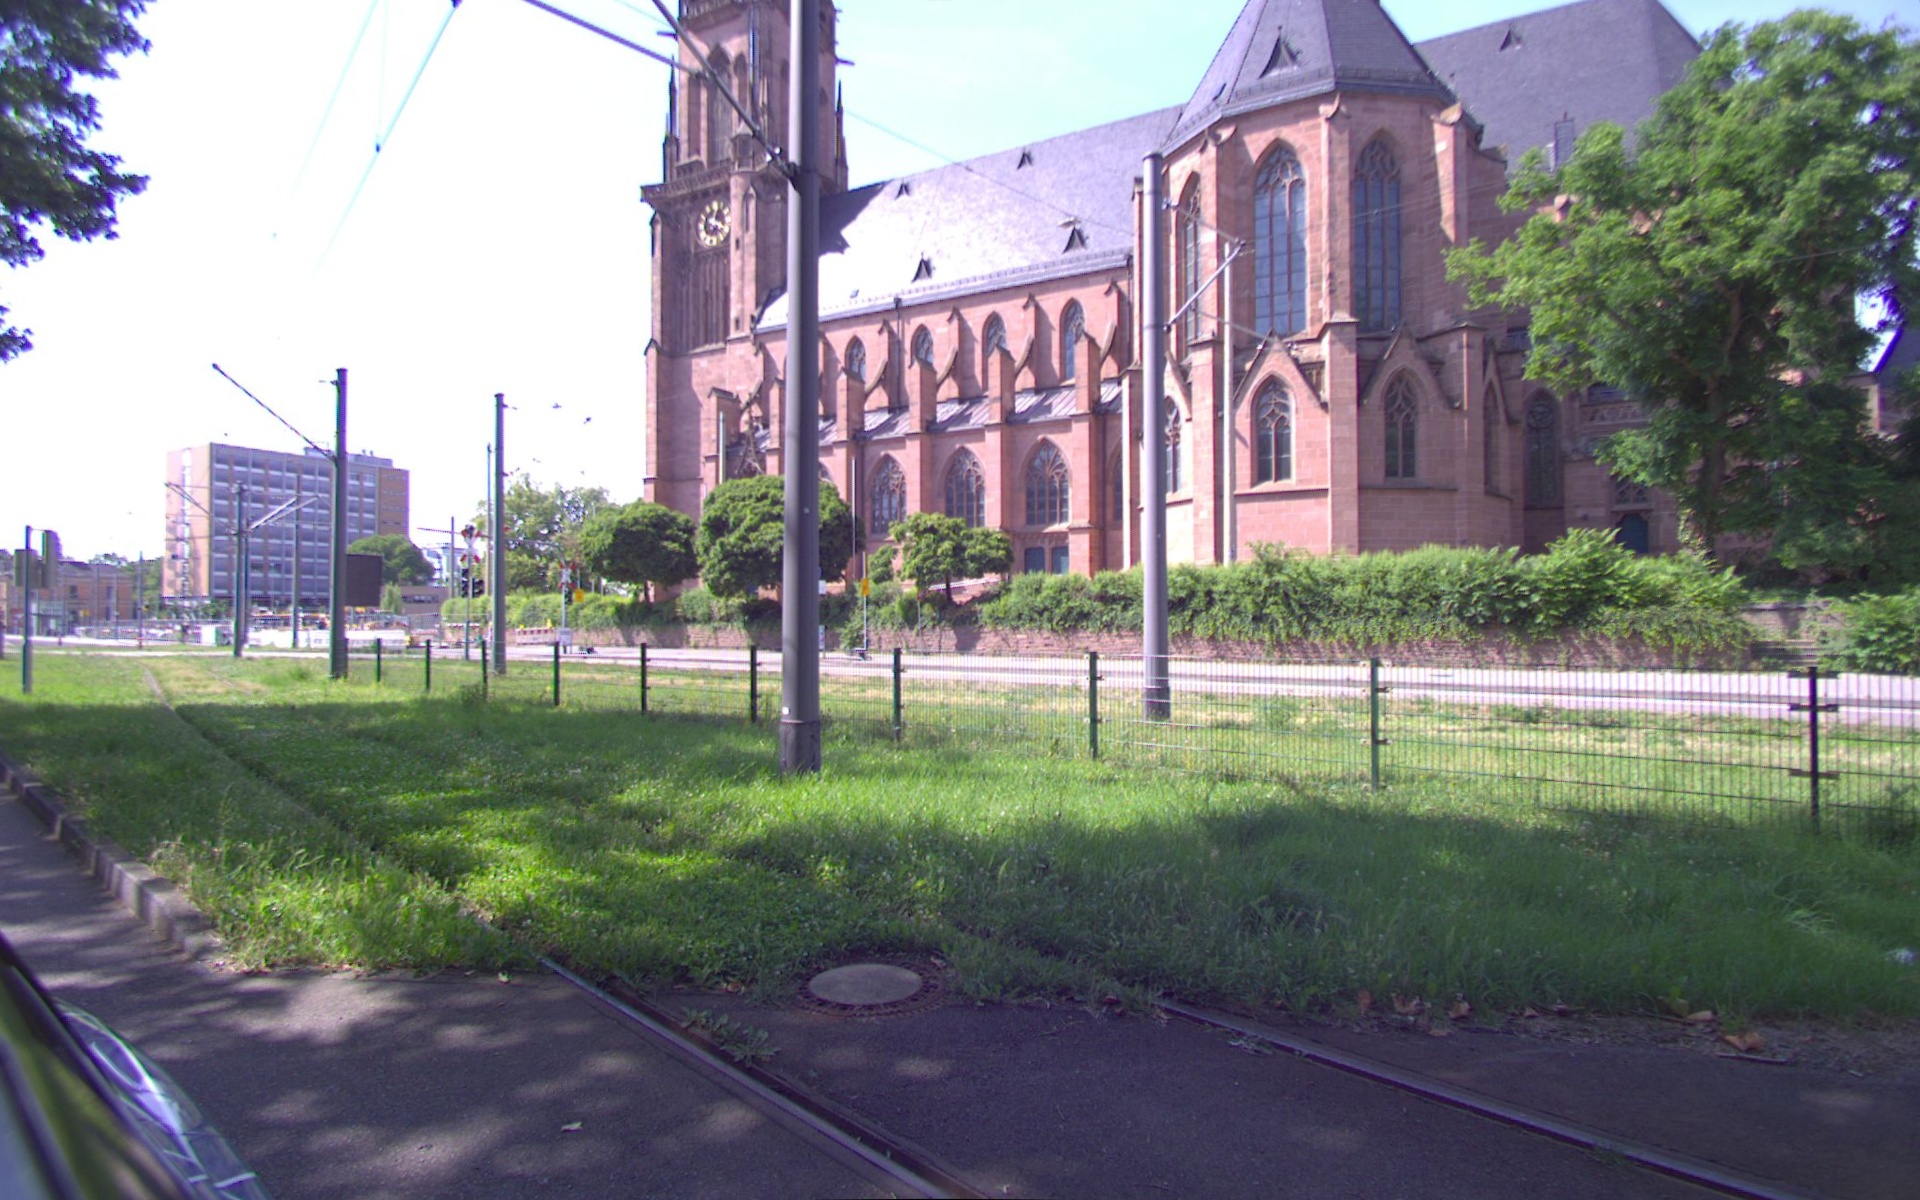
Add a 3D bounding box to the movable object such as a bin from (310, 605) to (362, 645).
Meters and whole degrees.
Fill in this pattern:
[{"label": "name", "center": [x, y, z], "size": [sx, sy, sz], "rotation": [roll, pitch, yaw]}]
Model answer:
[{"label": "movable object such as a bin", "center": [-62.542, 2.535, 101.509], "size": [2.904, 3.911, 3.327], "rotation": [0, -2, 7]}]
